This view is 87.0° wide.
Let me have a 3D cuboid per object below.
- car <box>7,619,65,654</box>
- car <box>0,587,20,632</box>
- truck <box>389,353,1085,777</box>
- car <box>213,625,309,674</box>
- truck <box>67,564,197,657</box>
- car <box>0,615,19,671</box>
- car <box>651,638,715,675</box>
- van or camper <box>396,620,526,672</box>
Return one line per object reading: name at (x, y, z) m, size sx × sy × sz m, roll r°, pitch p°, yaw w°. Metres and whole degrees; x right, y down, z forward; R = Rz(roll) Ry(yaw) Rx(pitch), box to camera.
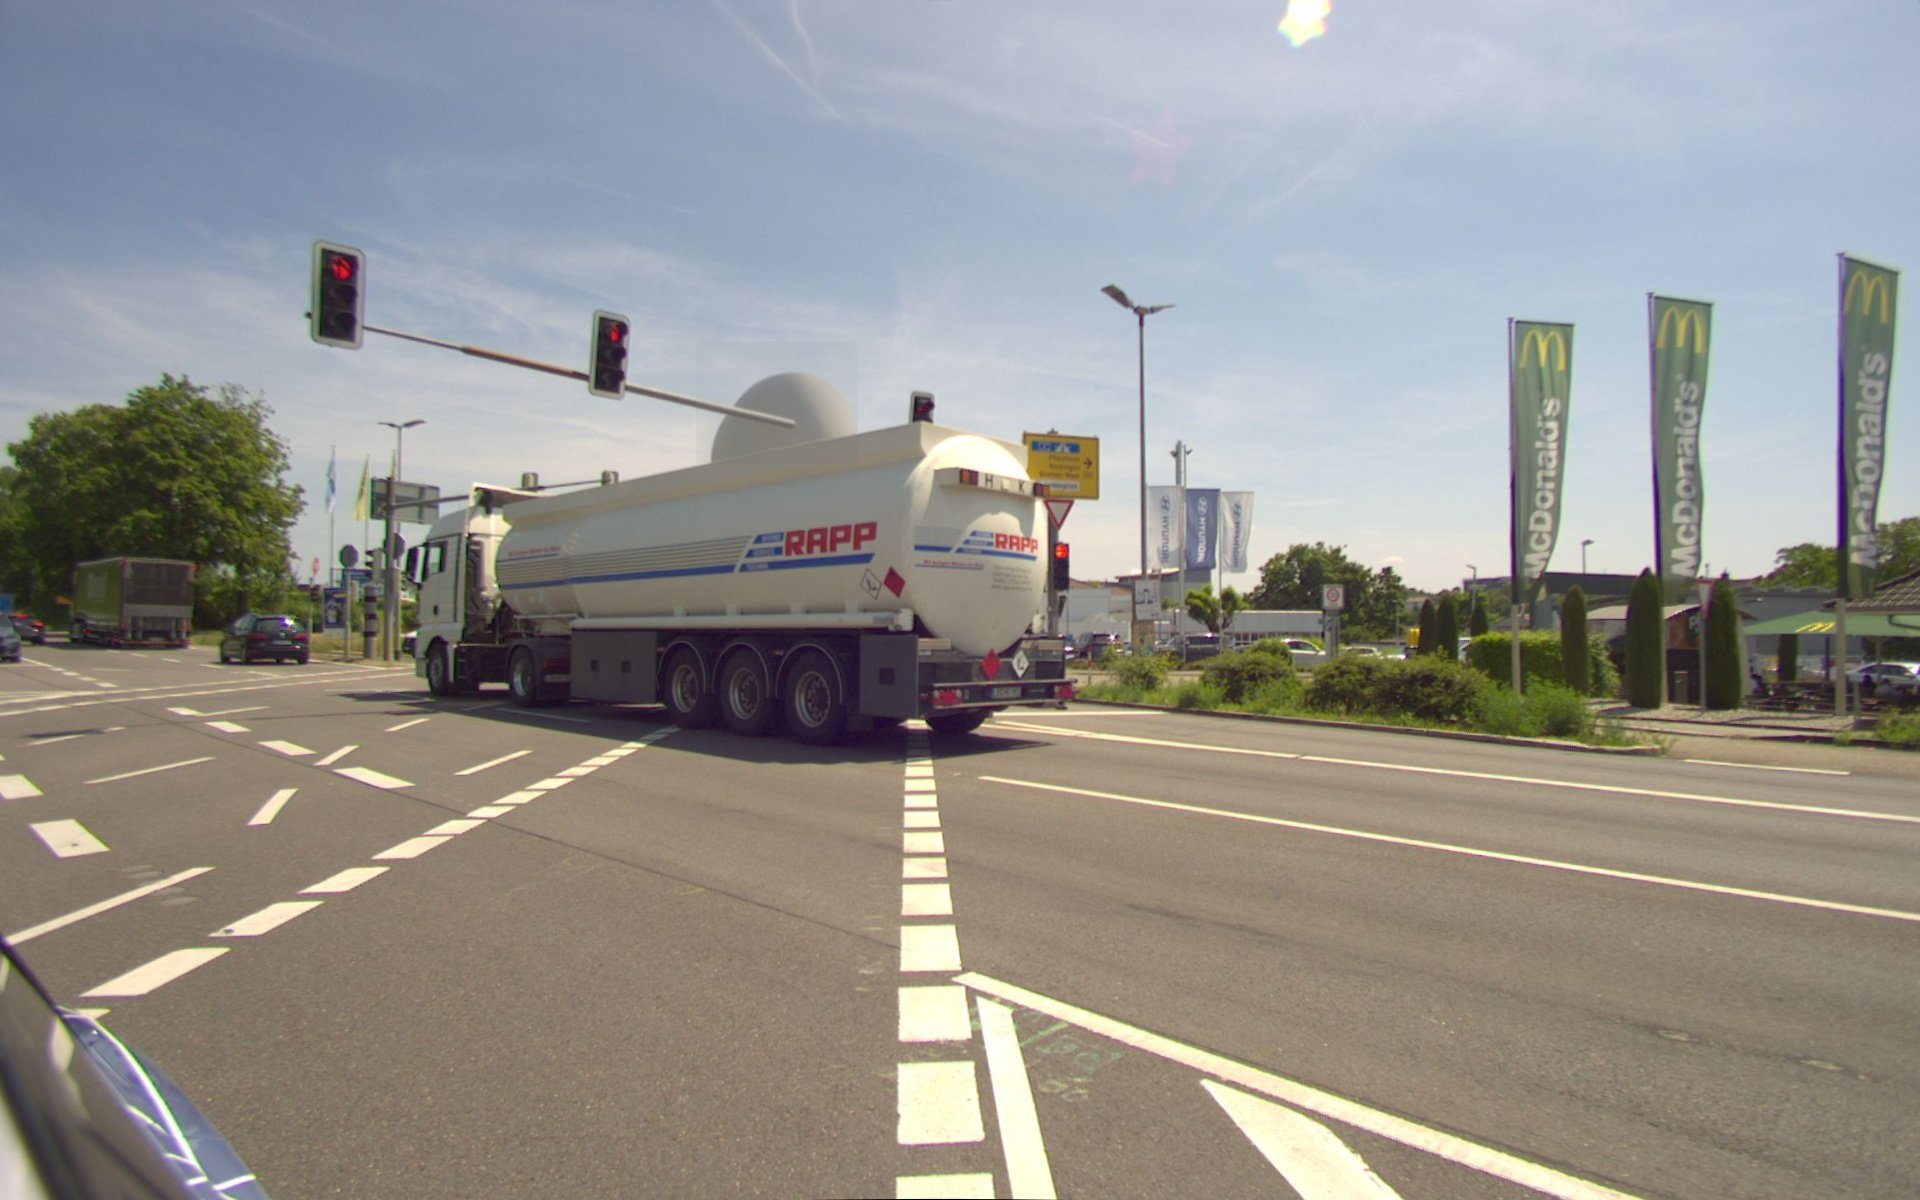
car at (-43.961, 1.731, 48.106) m, size 3.955 × 1.509 × 1.665 m, roll -1°, pitch -4°, yaw 43°
car at (-91.556, 0.928, 96.064) m, size 3.303 × 4.111 × 7.700 m, roll 1°, pitch -2°, yaw -43°
truck at (-4.939, -0.203, 15.810) m, size 15.132 × 4.049 × 2.576 m, roll -1°, pitch -2°, yaw 44°
car at (-22.428, 1.562, 32.423) m, size 4.155 × 1.439 × 1.665 m, roll 0°, pitch -3°, yaw 43°
truck at (-41.312, 0.593, 50.097) m, size 17.089 × 3.985 × 2.812 m, roll -1°, pitch -2°, yaw 44°
car at (-30.264, 1.291, 30.910) m, size 4.510 × 1.622 × 1.902 m, roll -1°, pitch -1°, yaw 43°
car at (-11.373, 2.307, 41.785) m, size 1.894 × 1.432 × 4.005 m, roll 1°, pitch -3°, yaw -6°
van or camper at (-24.535, 2.203, 49.964) m, size 2.095 × 2.431 × 5.397 m, roll -1°, pitch -2°, yaw 39°
